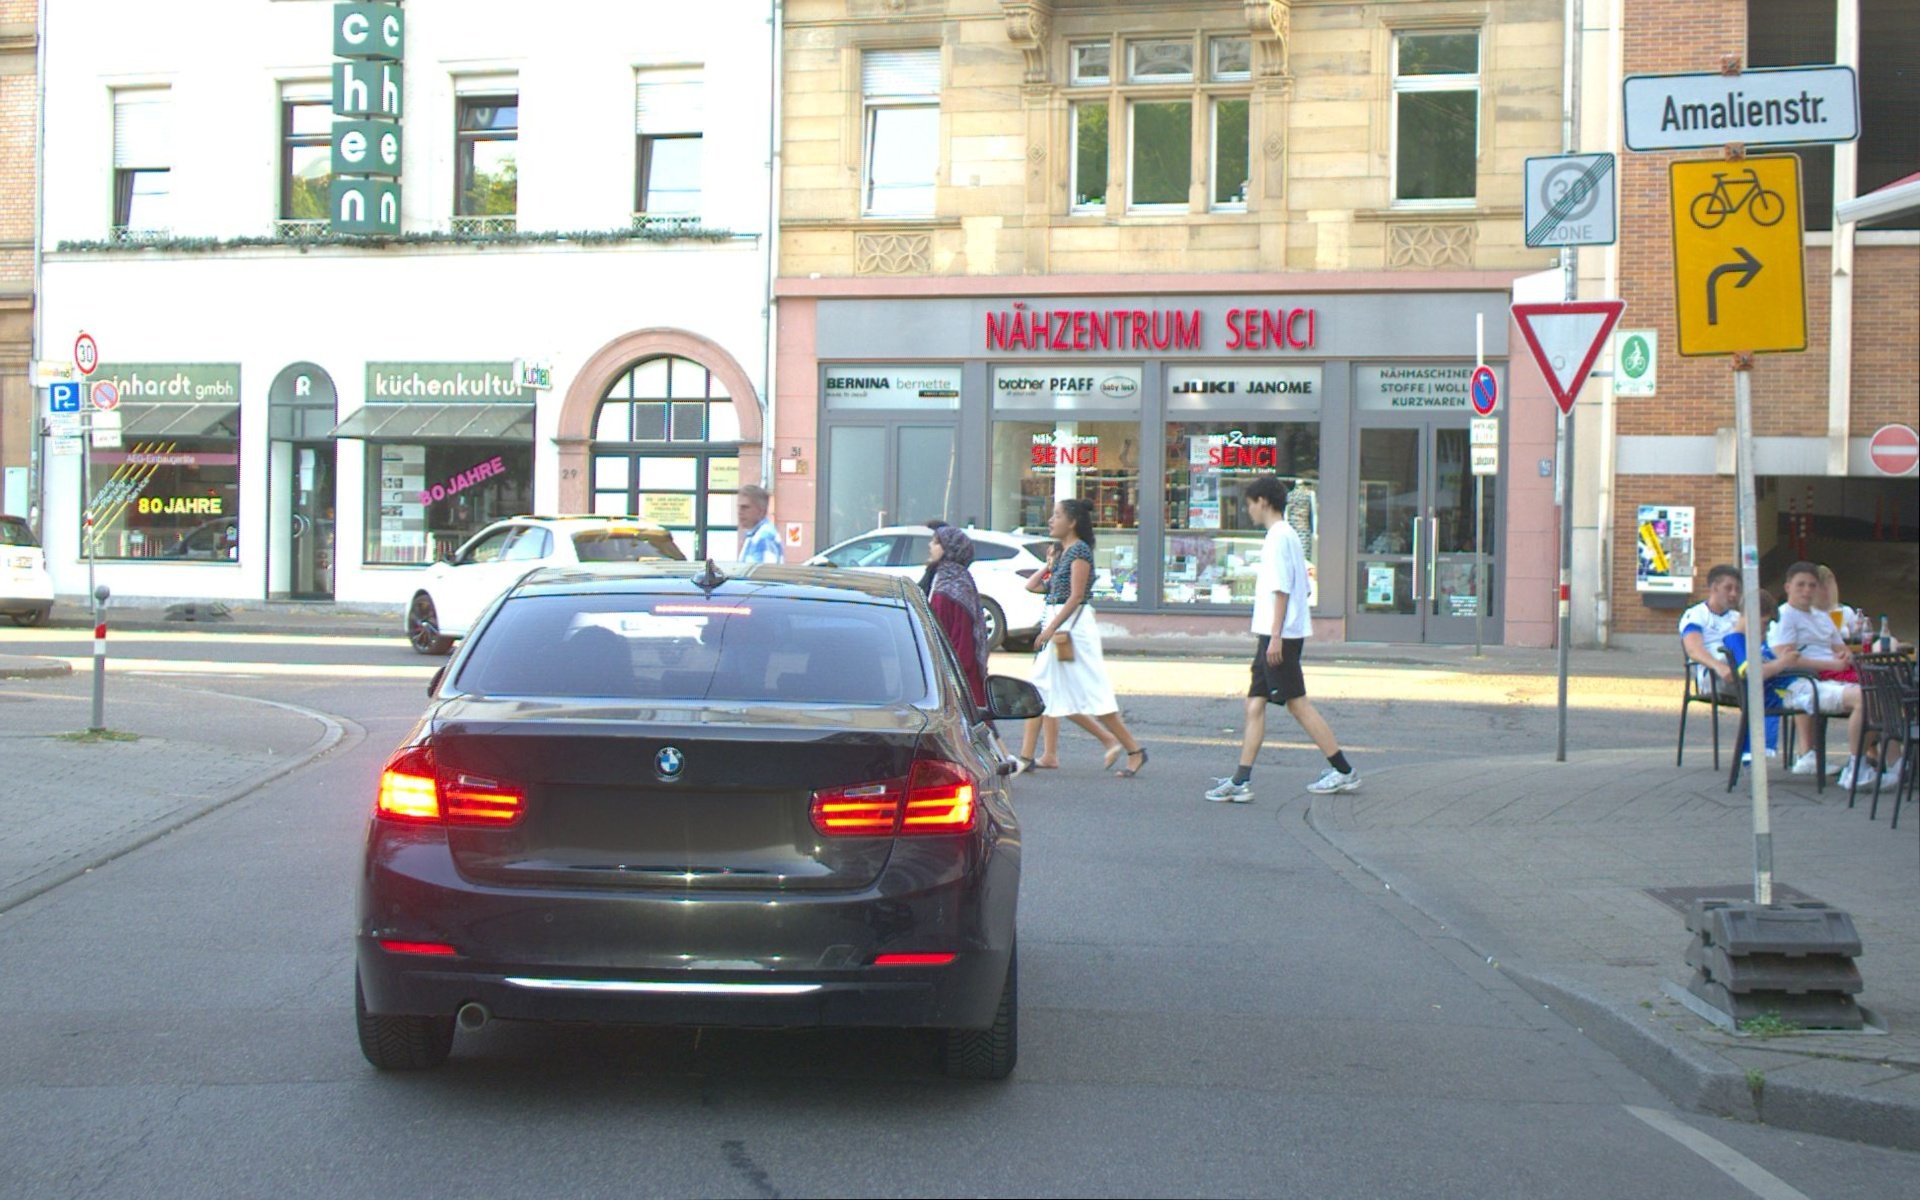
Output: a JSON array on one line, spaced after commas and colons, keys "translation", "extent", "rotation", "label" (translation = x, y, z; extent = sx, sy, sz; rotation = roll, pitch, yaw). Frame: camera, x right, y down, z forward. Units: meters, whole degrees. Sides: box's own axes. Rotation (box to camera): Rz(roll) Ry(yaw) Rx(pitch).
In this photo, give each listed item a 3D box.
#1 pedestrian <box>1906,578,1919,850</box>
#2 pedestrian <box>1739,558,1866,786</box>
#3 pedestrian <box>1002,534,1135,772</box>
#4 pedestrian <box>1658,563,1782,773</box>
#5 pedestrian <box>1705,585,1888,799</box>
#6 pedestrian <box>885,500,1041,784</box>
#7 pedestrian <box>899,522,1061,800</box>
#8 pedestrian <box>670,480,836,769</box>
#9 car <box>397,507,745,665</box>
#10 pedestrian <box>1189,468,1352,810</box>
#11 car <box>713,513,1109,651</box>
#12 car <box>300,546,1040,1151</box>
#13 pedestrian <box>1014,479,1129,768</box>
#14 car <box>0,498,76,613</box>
[{"translation": [4.811, 0.541, 16.300], "extent": [0.491, 1.298, 0.418], "rotation": [-2, 1, -2], "label": "pedestrian"}, {"translation": [4.881, 0.407, 19.943], "extent": [0.617, 1.279, 0.659], "rotation": [1, 1, 6], "label": "pedestrian"}, {"translation": [0.688, 0.324, 21.763], "extent": [0.815, 1.469, 0.606], "rotation": [1, 1, 2], "label": "pedestrian"}, {"translation": [4.669, 0.406, 21.152], "extent": [0.617, 1.250, 0.735], "rotation": [1, 1, 4], "label": "pedestrian"}, {"translation": [4.654, 0.504, 19.155], "extent": [0.890, 1.146, 0.619], "rotation": [1, 1, 5], "label": "pedestrian"}, {"translation": [0.013, 0.235, 19.985], "extent": [0.724, 1.603, 0.650], "rotation": [2, 1, -11], "label": "pedestrian"}, {"translation": [0.105, 0.331, 19.318], "extent": [0.735, 1.508, 0.650], "rotation": [2, 1, -11], "label": "pedestrian"}, {"translation": [-1.279, 0.141, 21.323], "extent": [0.895, 1.719, 0.607], "rotation": [2, 3, 4], "label": "pedestrian"}, {"translation": [-3.979, -0.180, 34.647], "extent": [1.877, 1.468, 4.000], "rotation": [0, 2, -33], "label": "car"}, {"translation": [1.753, 0.207, 19.375], "extent": [0.699, 1.871, 0.677], "rotation": [2, 1, 21], "label": "pedestrian"}, {"translation": [-0.582, -0.231, 41.192], "extent": [4.356, 1.557, 1.866], "rotation": [1, 1, 21], "label": "car"}, {"translation": [-0.782, 0.572, 10.784], "extent": [1.765, 1.370, 4.791], "rotation": [2, 2, -2], "label": "car"}, {"translation": [0.686, 0.135, 21.050], "extent": [0.667, 1.740, 0.606], "rotation": [1, 1, 4], "label": "pedestrian"}, {"translation": [-14.218, -0.618, 46.624], "extent": [3.991, 1.505, 1.798], "rotation": [1, 1, 21], "label": "car"}]
